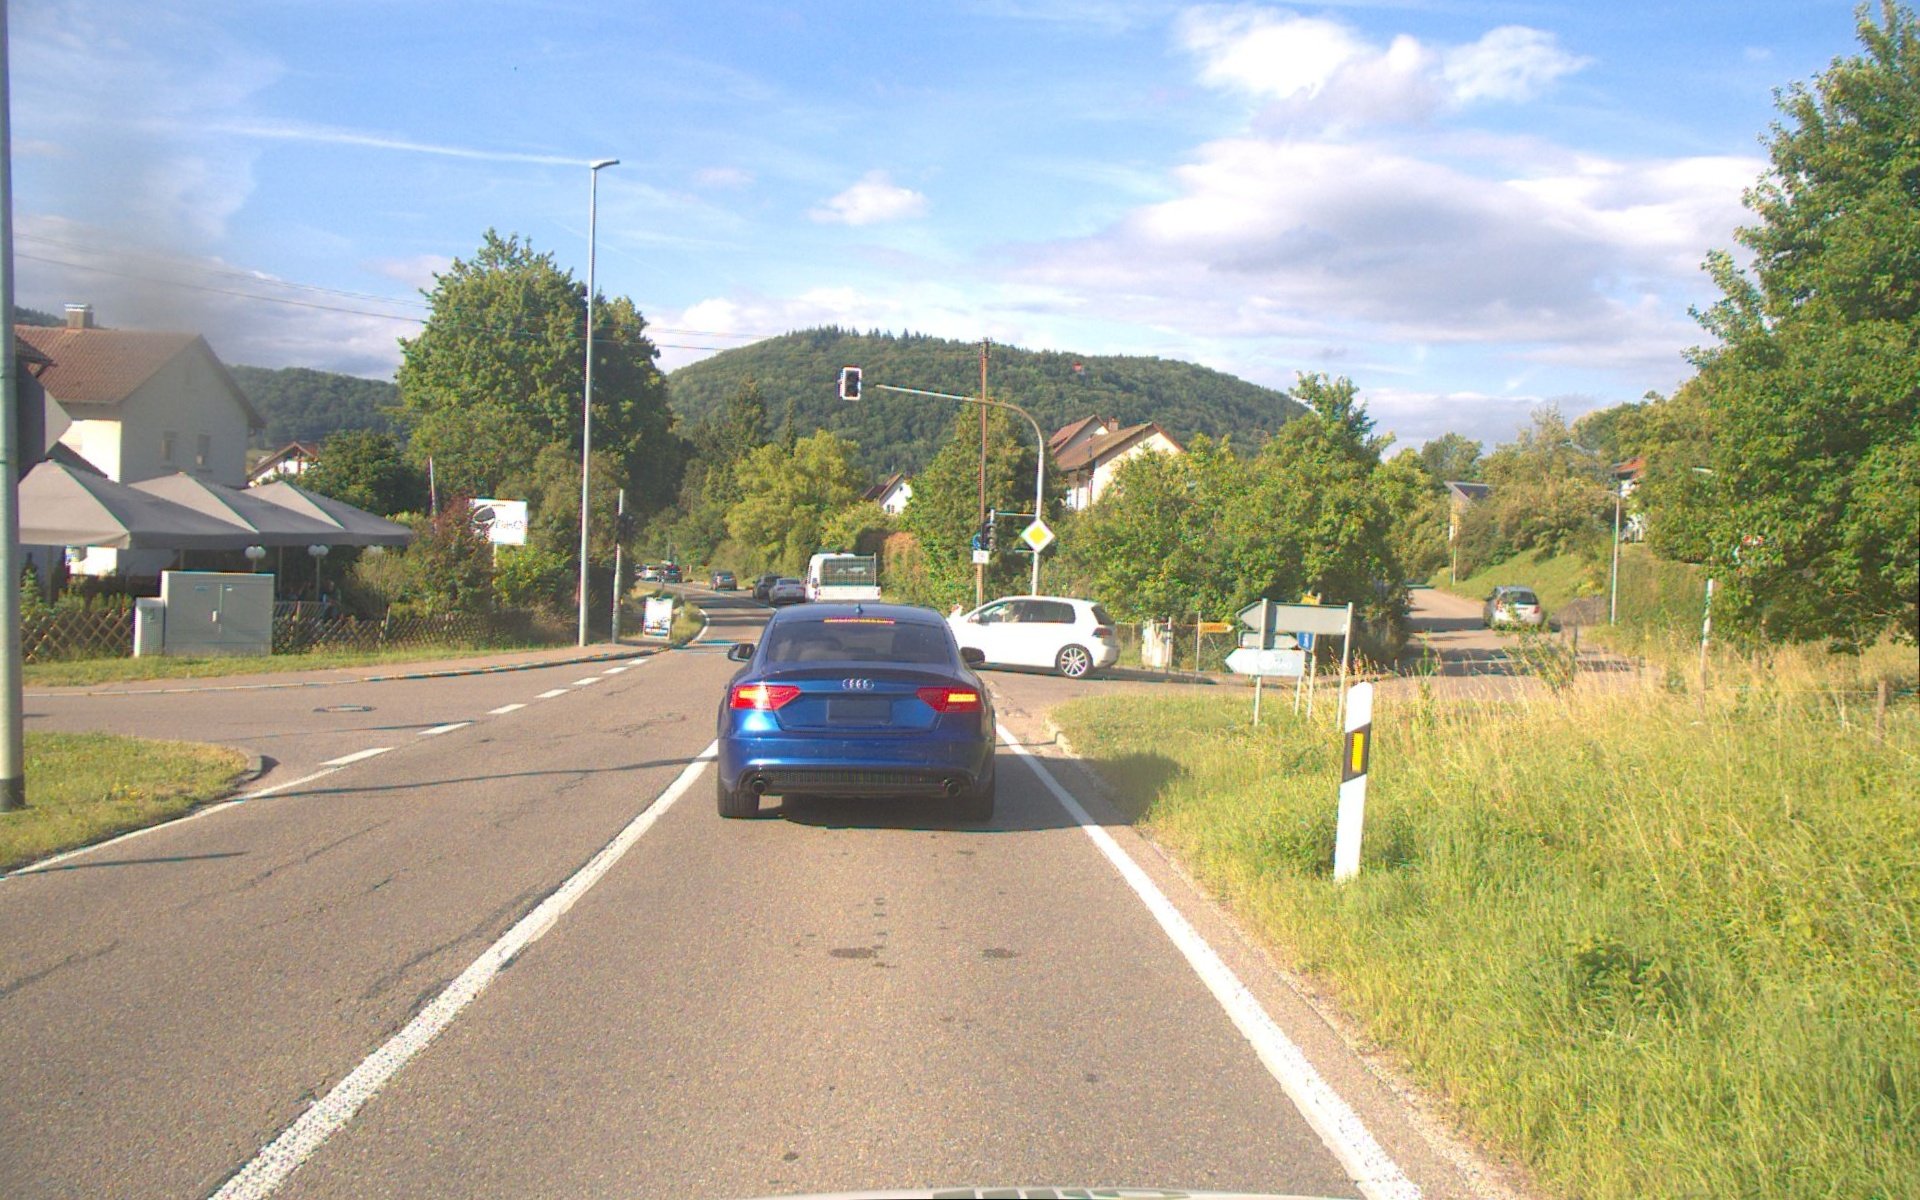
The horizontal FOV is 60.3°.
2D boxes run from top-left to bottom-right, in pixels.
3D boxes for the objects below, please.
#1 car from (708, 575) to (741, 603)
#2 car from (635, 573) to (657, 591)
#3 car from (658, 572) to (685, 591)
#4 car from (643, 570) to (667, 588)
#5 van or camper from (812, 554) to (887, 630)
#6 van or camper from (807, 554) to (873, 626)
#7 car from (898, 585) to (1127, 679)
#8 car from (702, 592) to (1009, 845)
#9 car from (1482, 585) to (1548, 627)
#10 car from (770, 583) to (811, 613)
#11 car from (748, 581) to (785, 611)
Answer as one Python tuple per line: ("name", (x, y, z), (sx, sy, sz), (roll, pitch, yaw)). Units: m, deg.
("car", (-17.710, -0.831, 124.353), (1.961, 2.049, 3.982), (0, 1, -16))
("car", (-32.662, -1.851, 172.030), (1.721, 1.814, 3.980), (0, 1, -18))
("car", (-26.906, -1.734, 154.047), (2.009, 1.713, 3.981), (0, 1, -17))
("car", (-30.107, -2.045, 163.338), (1.912, 1.713, 3.981), (0, 1, -17))
("van or camper", (-3.812, -0.309, 56.182), (2.139, 2.426, 5.360), (1, 1, -8))
("van or camper", (-5.193, -0.463, 70.618), (2.370, 2.955, 6.120), (1, 1, -8))
("car", (1.034, 0.581, 31.652), (4.072, 1.439, 1.778), (4, 1, 11))
("car", (-0.752, 0.679, 11.809), (1.794, 1.433, 4.223), (0, 1, -4))
("car", (20.537, 0.228, 61.313), (1.951, 1.490, 4.003), (1, 0, 13))
("car", (-9.221, -0.129, 89.828), (1.788, 1.579, 3.987), (0, 1, -13))
("car", (-11.838, -0.265, 101.081), (1.766, 1.825, 3.986), (0, 1, -14))
